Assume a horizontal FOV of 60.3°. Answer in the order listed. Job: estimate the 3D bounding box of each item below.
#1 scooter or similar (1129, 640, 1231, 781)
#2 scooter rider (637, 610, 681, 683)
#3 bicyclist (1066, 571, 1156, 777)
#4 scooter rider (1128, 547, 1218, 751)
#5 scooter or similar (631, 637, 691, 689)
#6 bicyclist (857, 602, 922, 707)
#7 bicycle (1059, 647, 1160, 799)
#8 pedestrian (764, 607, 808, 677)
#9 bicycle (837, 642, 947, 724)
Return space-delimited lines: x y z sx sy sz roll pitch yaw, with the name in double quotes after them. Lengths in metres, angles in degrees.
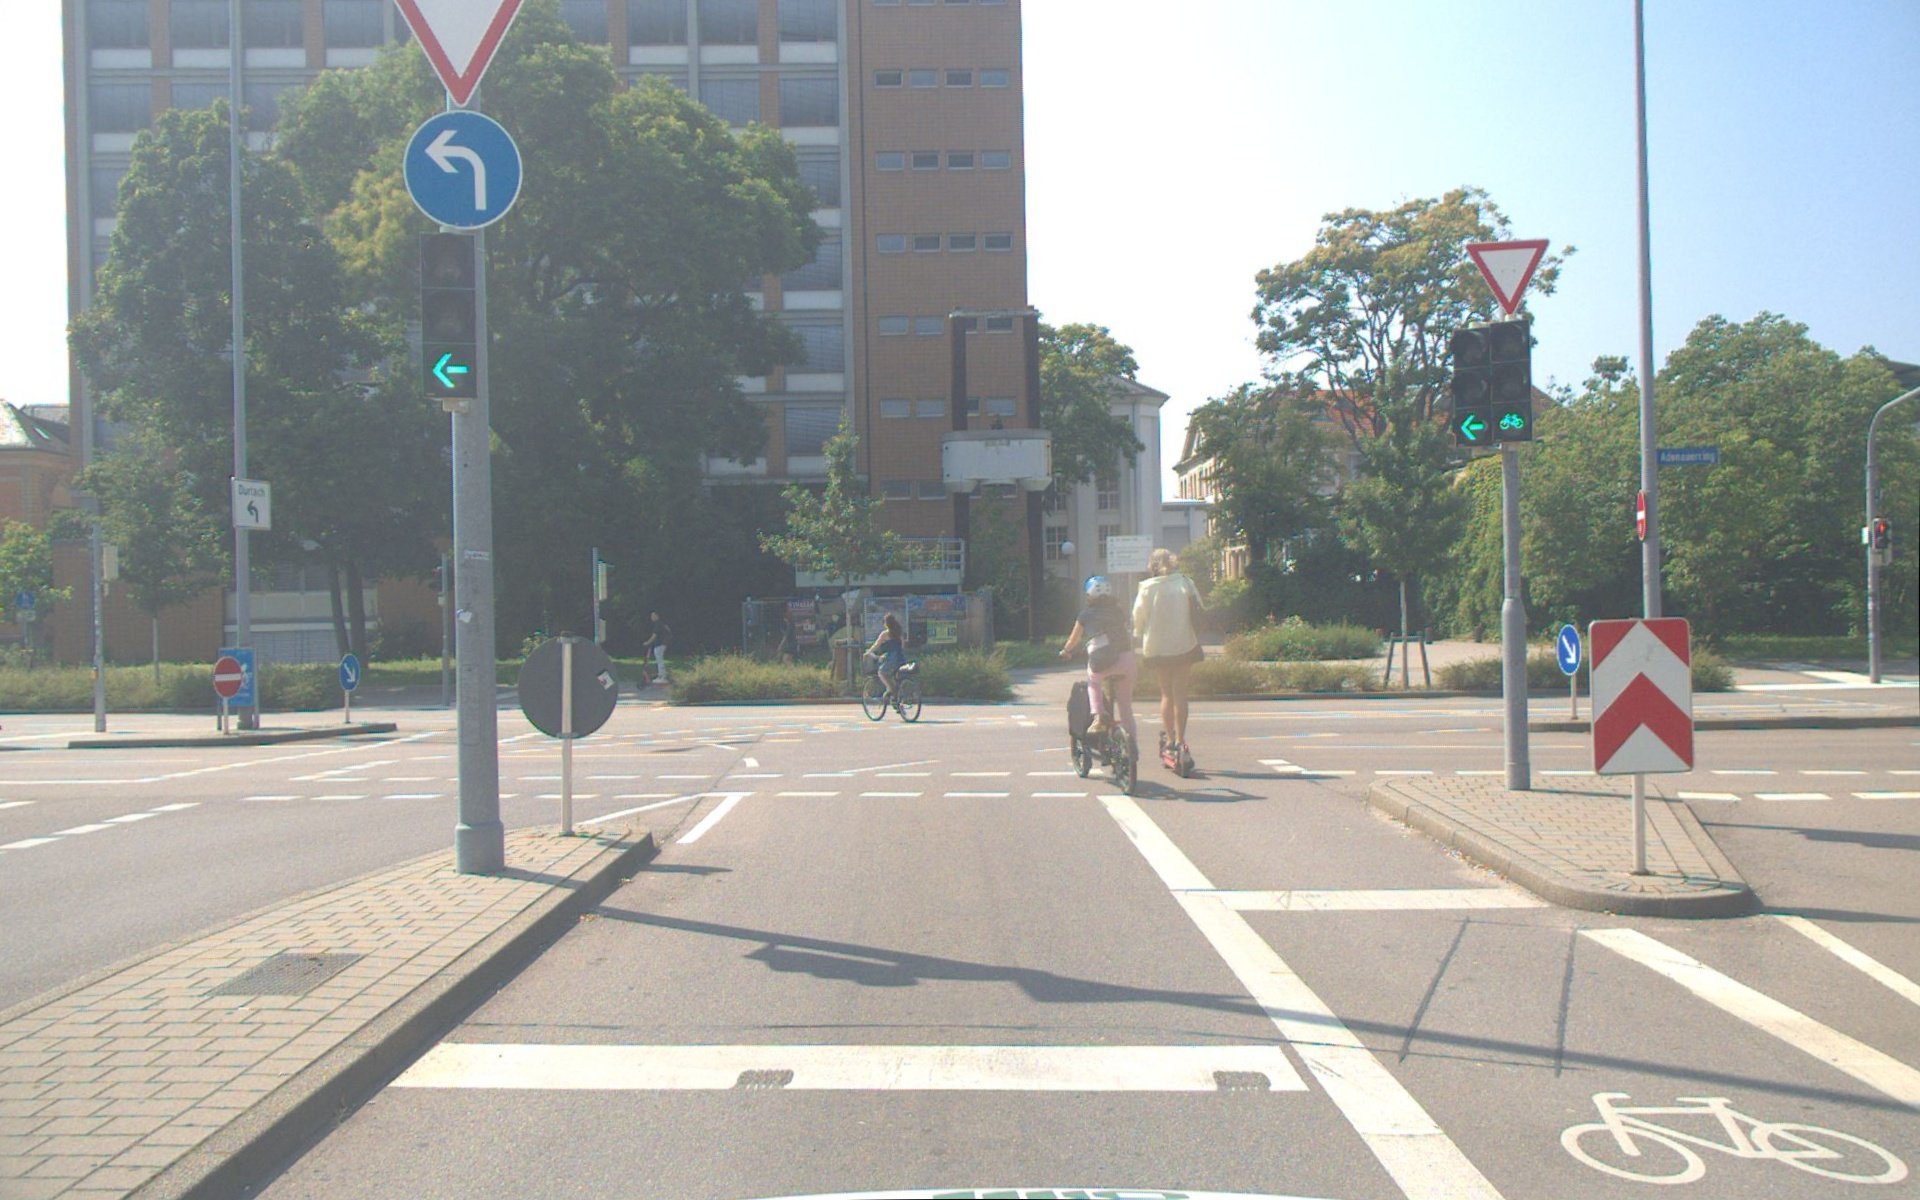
1.867 0.909 14.266 0.545 1.078 2.003 -2 0 -1 "scooter or similar"
-7.493 1.156 41.216 0.786 1.769 0.689 -1 1 21 "scooter rider"
1.162 0.559 12.858 0.537 1.522 0.803 -3 0 -1 "bicyclist"
1.849 0.421 14.429 0.657 1.729 0.539 -2 -1 -2 "scooter rider"
-7.461 1.561 41.273 1.335 1.256 0.585 -2 0 21 "scooter or similar"
-1.146 0.866 26.733 0.684 1.626 0.834 -3 2 -32 "bicyclist"
1.175 0.943 13.320 0.545 1.078 2.003 -2 -1 -1 "bicycle"
-4.435 1.068 42.182 0.858 1.734 0.708 -2 1 16 "pedestrian"
-1.124 1.313 26.734 0.687 1.175 2.345 -3 1 -32 "bicycle"
